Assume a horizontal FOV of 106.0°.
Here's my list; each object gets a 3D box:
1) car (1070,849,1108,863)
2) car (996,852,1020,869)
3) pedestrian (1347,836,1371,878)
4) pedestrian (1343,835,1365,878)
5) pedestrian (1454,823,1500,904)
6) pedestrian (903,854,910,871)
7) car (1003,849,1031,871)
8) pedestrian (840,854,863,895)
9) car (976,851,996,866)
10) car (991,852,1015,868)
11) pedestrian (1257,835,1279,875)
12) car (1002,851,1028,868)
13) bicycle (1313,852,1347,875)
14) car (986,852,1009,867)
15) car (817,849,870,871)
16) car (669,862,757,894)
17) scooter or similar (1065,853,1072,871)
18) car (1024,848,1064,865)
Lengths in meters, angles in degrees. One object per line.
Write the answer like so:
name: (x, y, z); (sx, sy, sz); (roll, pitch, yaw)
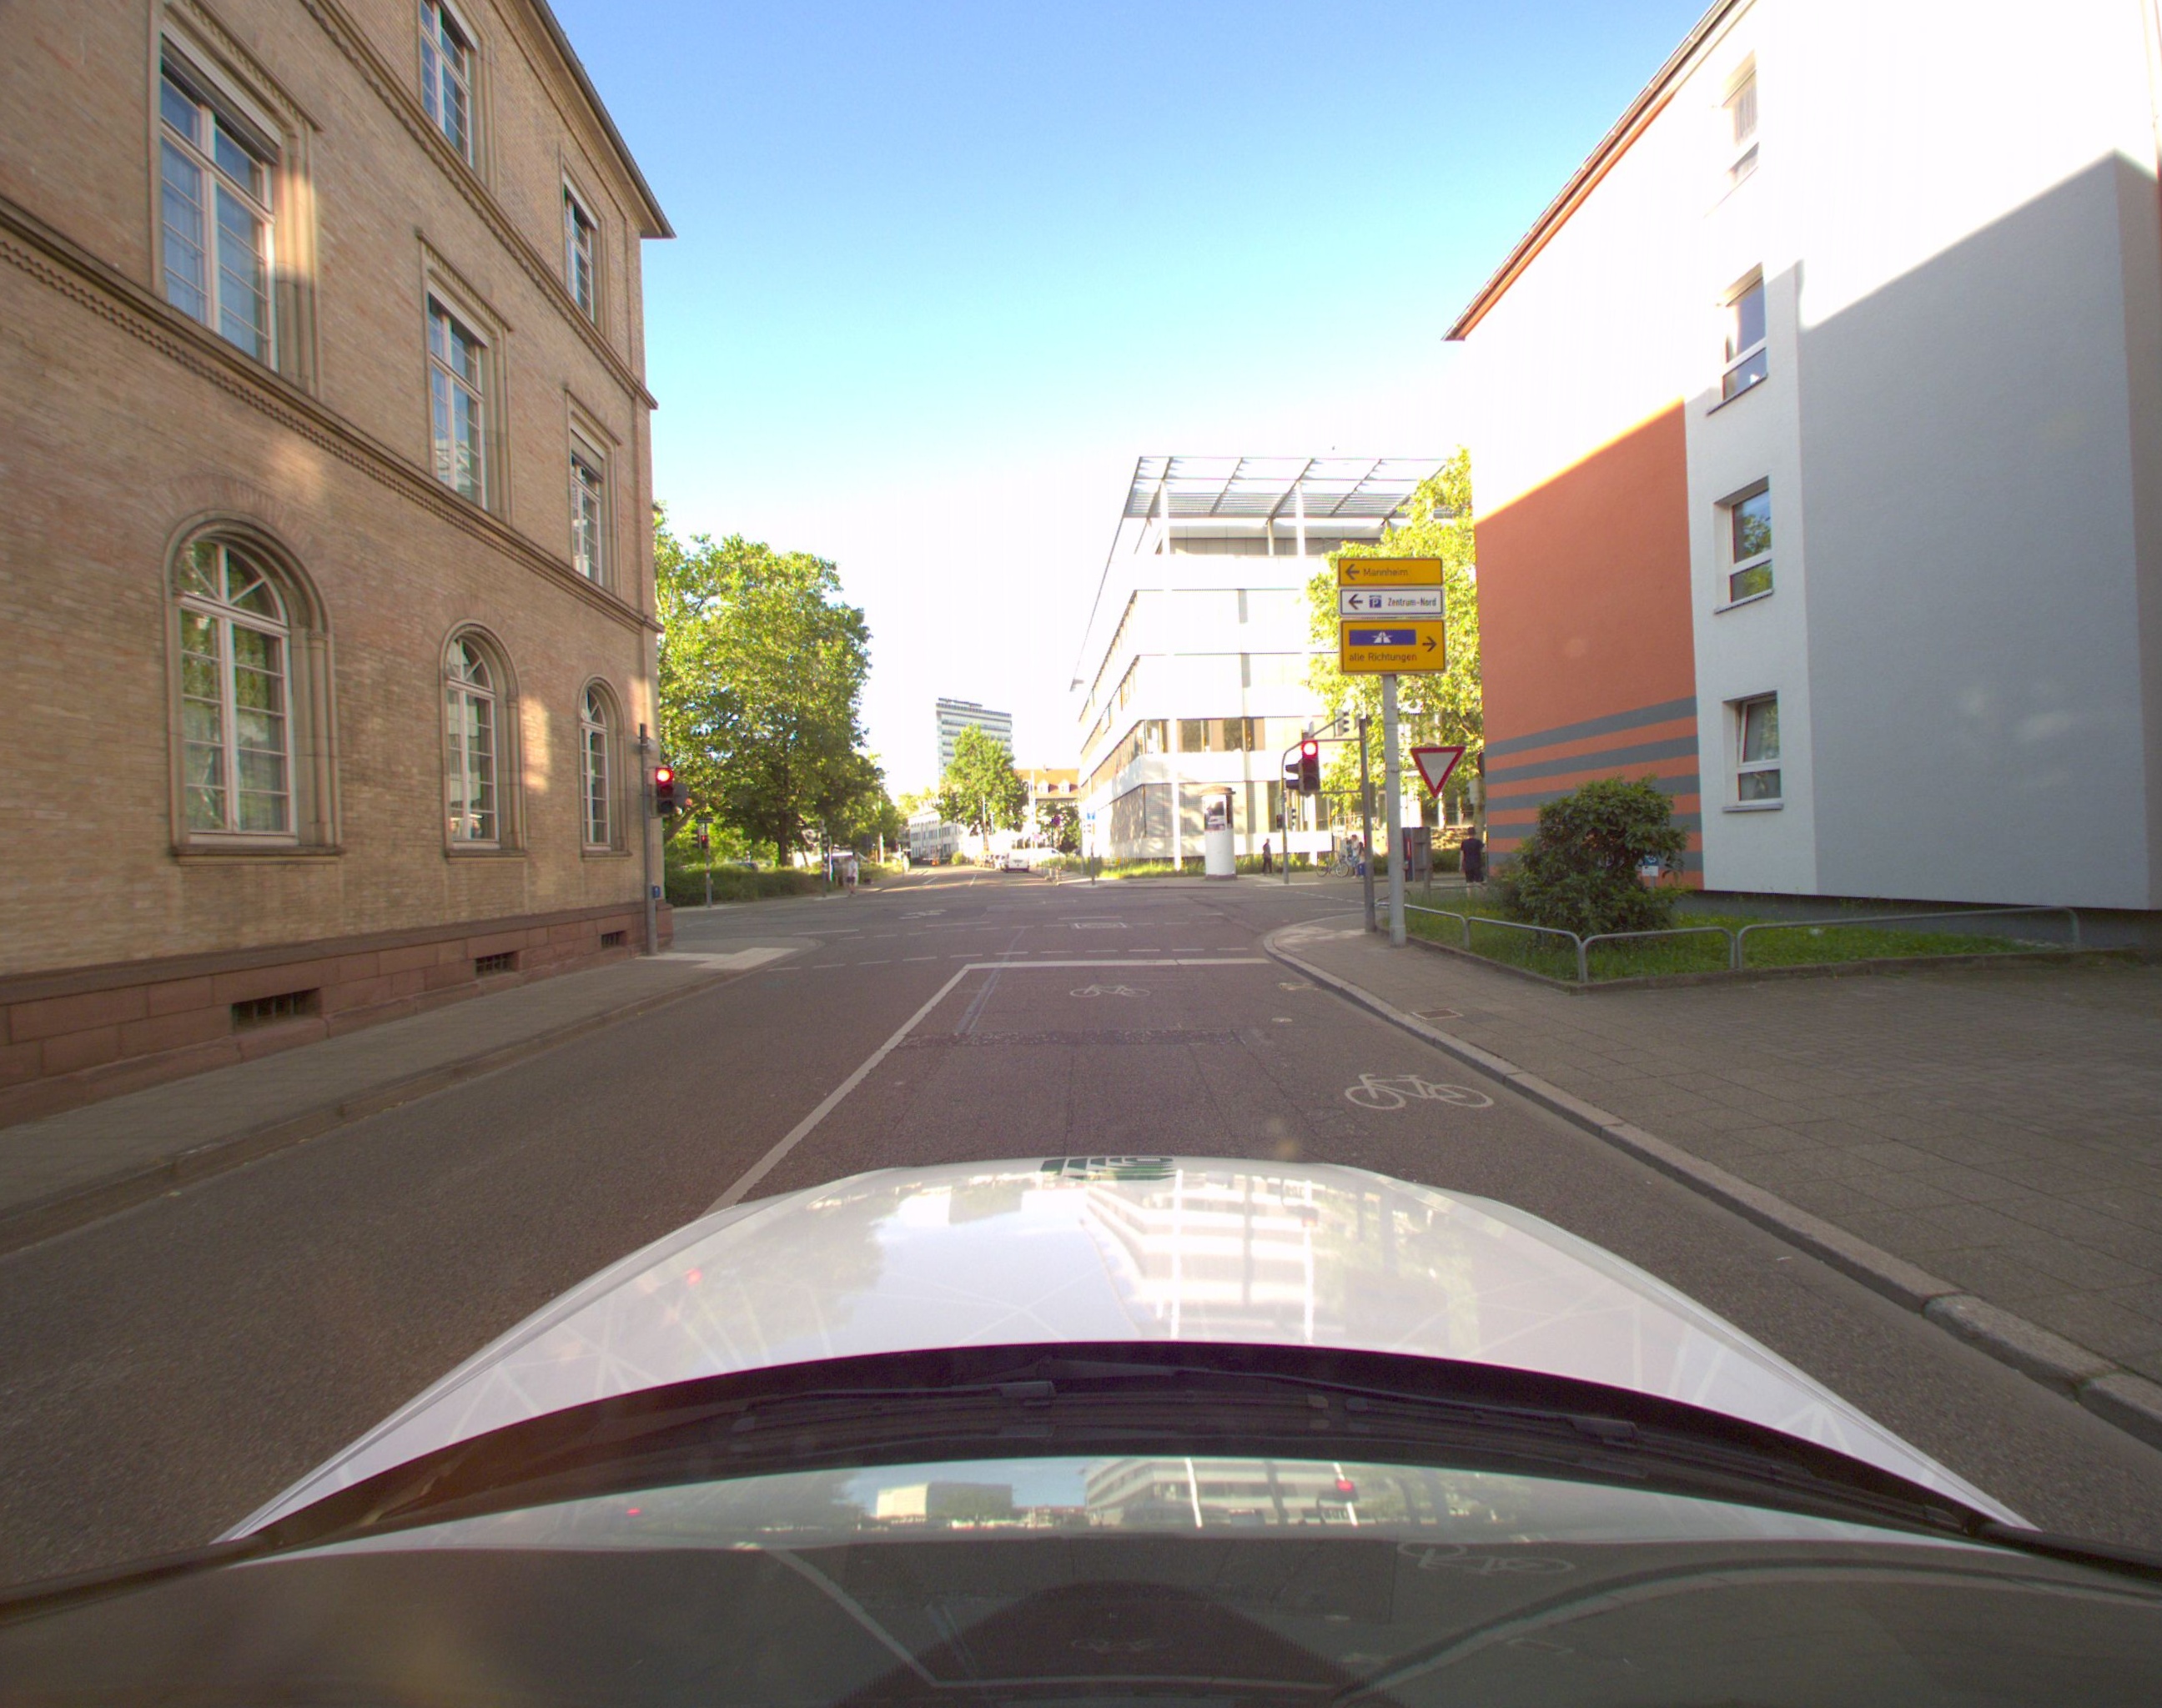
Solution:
car: (1.025, 0.284, 104.974); (4.644, 1.725, 1.990); (0, -1, -15)
car: (-6.918, 0.625, 77.171); (1.993, 1.499, 4.638); (0, -1, -8)
pedestrian: (11.543, 0.143, 33.830); (0.761, 1.719, 0.648); (0, -1, 4)
pedestrian: (11.575, 0.092, 34.550); (0.761, 1.795, 0.648); (0, -1, 4)
pedestrian: (9.013, 0.212, 18.534); (0.723, 1.810, 0.693); (0, -1, -39)
pedestrian: (-16.766, 0.815, 78.261); (0.700, 1.587, 0.633); (0, -1, -14)
car: (-5.170, 0.481, 65.136); (1.992, 1.725, 4.640); (0, -1, -7)
pedestrian: (-10.455, 0.926, 37.089); (0.917, 1.869, 0.737); (0, -1, -22)
car: (-11.299, 0.559, 96.322); (1.995, 1.725, 4.633); (0, -1, -11)
car: (-7.841, 0.603, 81.644); (1.994, 1.499, 4.270); (0, -1, -11)
pedestrian: (8.817, 0.052, 38.371); (0.906, 1.815, 0.766); (-1, -1, 19)
car: (-5.845, 0.494, 71.371); (1.993, 1.499, 4.638); (0, -1, -8)
bicycle: (11.008, 0.432, 36.045); (0.381, 1.008, 1.416); (-2, 0, -40)
car: (-8.882, 0.610, 86.397); (1.994, 1.499, 4.635); (0, -1, -10)
car: (-22.013, 0.540, 75.709); (4.441, 2.014, 1.995); (0, -1, -8)
car: (-17.082, 1.093, 37.920); (3.407, 1.457, 1.646); (0, -1, -8)
scooter or similar: (-0.912, 0.593, 58.494); (0.436, 1.256, 1.418); (-2, 0, -2)
car: (-4.681, 0.299, 103.267); (4.802, 2.159, 1.989); (0, -1, -16)
